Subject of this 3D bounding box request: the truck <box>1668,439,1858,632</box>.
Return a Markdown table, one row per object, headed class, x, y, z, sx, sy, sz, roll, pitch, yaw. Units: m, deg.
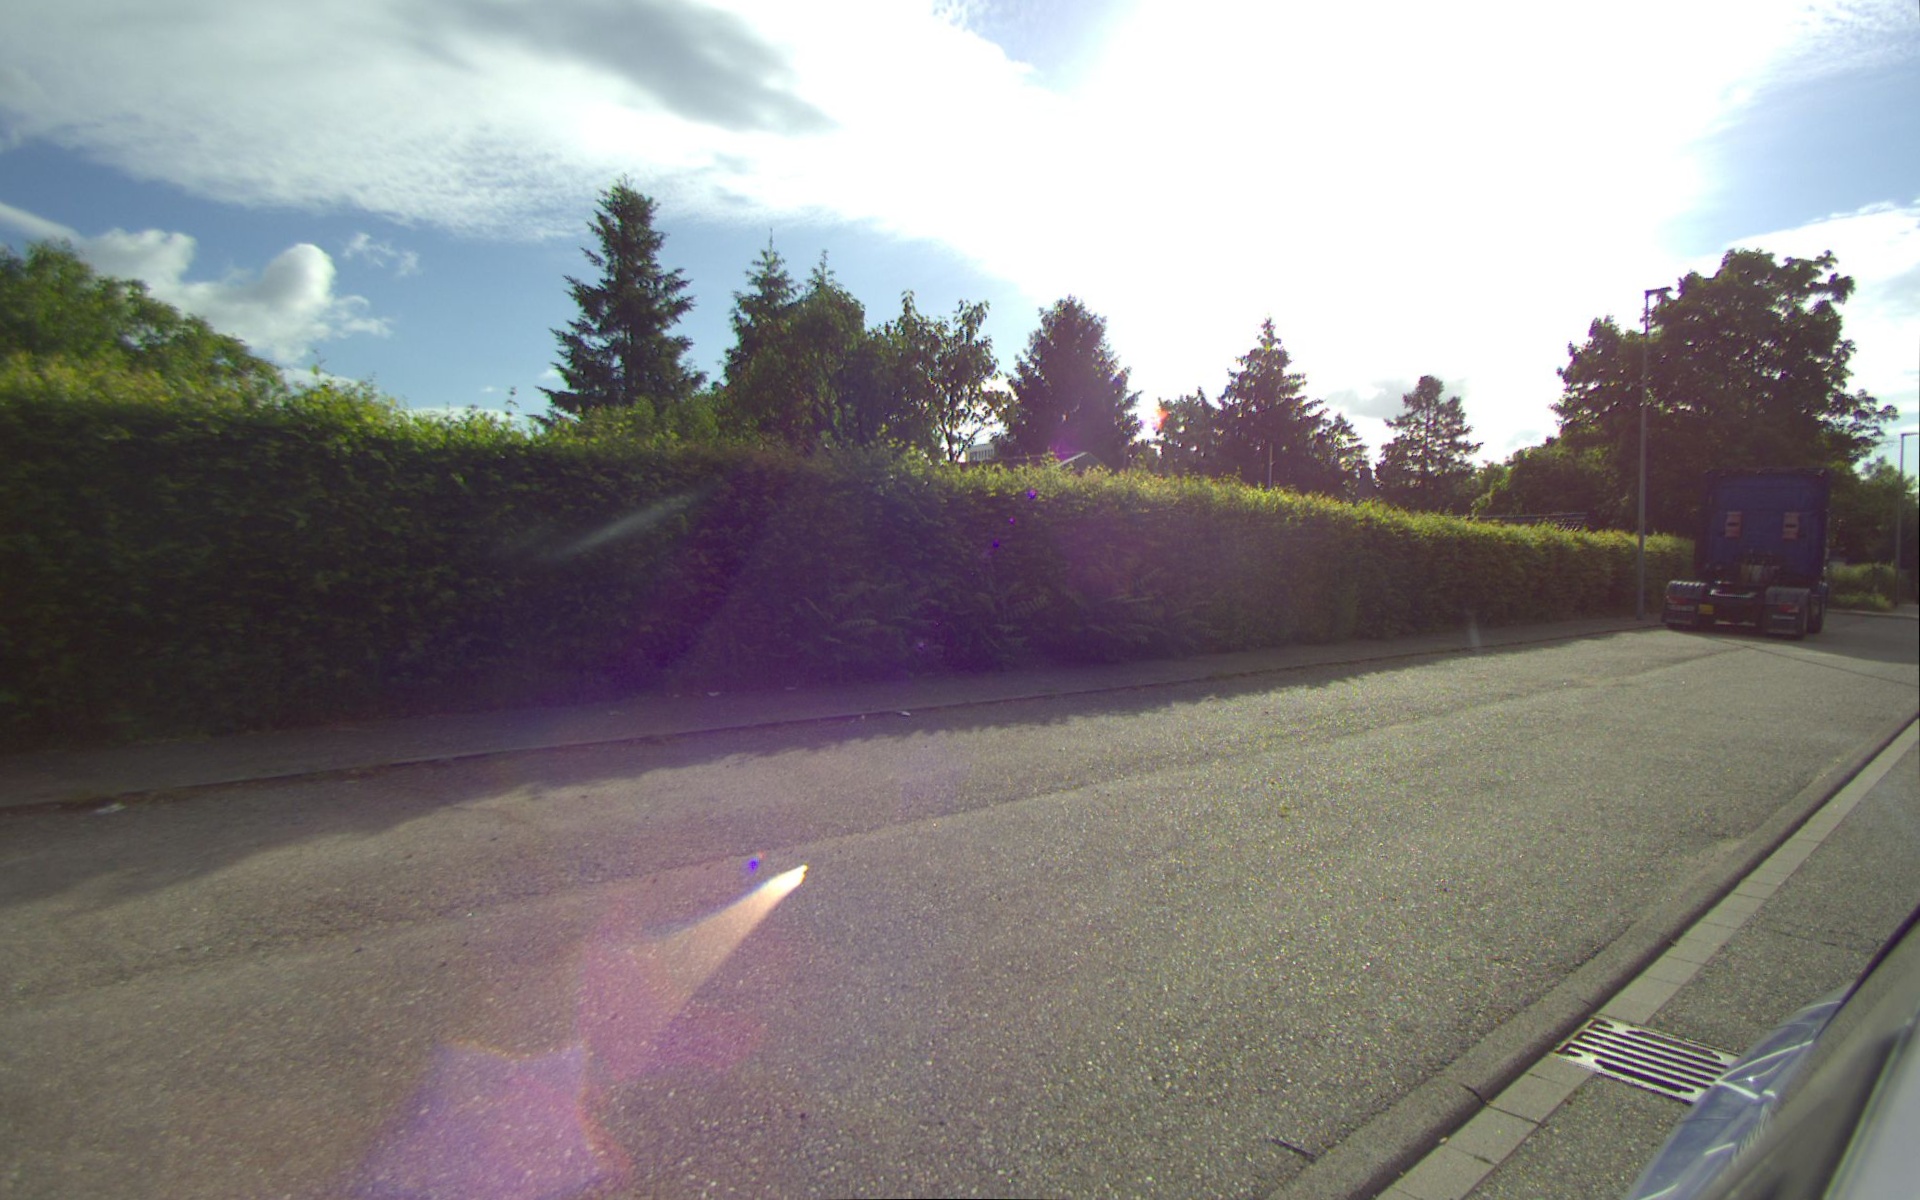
| class | x | y | z | sx | sy | sz | roll | pitch | yaw |
| --- | --- | --- | --- | --- | --- | --- | --- | --- | --- |
| truck | 19.273 | -1.533 | 24.162 | 6.182 | 4.005 | 2.598 | -2 | 6 | -45 |
